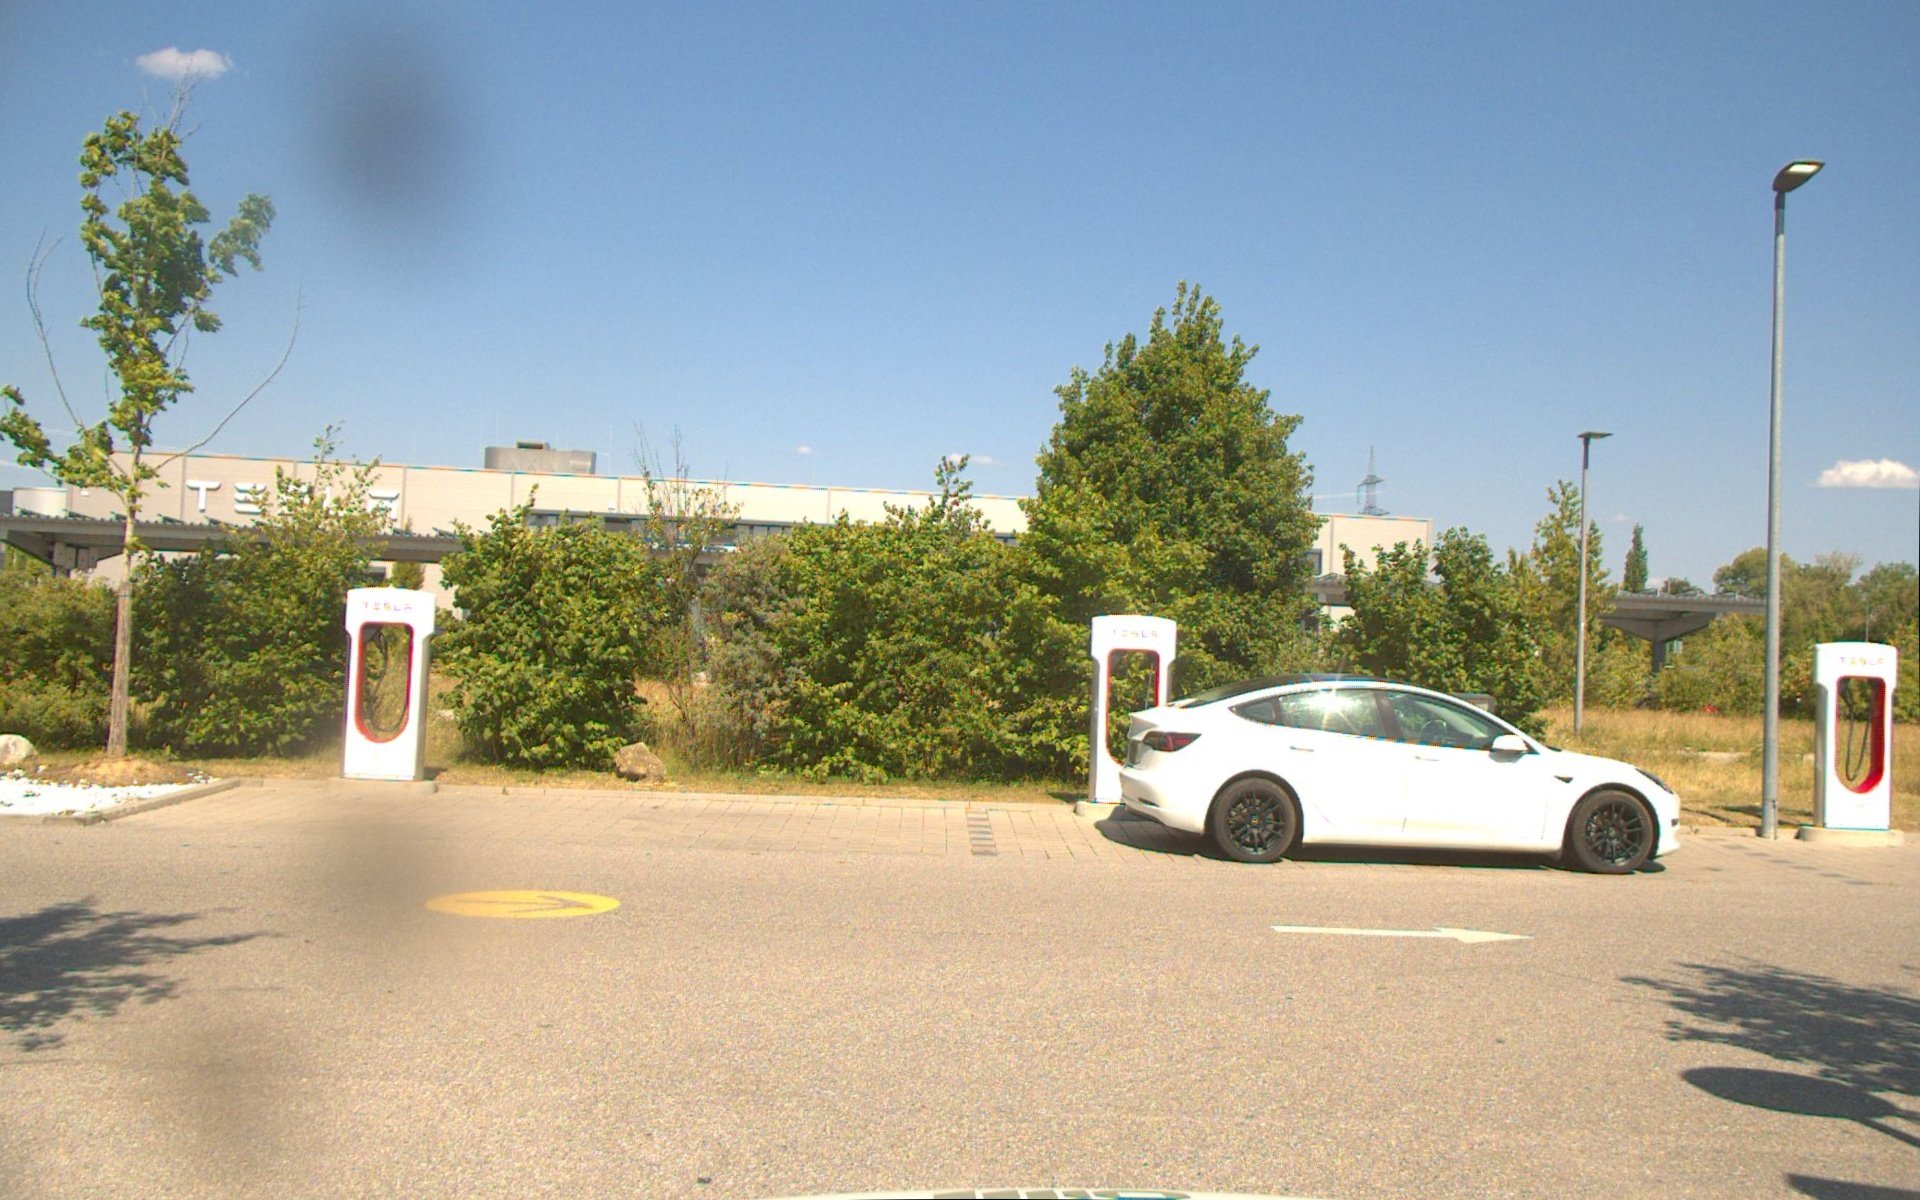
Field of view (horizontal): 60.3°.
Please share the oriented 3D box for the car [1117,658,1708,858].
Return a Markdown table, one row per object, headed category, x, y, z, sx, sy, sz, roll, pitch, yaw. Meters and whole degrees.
| category | x | y | z | sx | sy | sz | roll | pitch | yaw |
| --- | --- | --- | --- | --- | --- | --- | --- | --- | --- |
| car | 3.589 | 1.249 | 13.641 | 4.345 | 1.402 | 1.821 | 2 | -1 | -2 |
